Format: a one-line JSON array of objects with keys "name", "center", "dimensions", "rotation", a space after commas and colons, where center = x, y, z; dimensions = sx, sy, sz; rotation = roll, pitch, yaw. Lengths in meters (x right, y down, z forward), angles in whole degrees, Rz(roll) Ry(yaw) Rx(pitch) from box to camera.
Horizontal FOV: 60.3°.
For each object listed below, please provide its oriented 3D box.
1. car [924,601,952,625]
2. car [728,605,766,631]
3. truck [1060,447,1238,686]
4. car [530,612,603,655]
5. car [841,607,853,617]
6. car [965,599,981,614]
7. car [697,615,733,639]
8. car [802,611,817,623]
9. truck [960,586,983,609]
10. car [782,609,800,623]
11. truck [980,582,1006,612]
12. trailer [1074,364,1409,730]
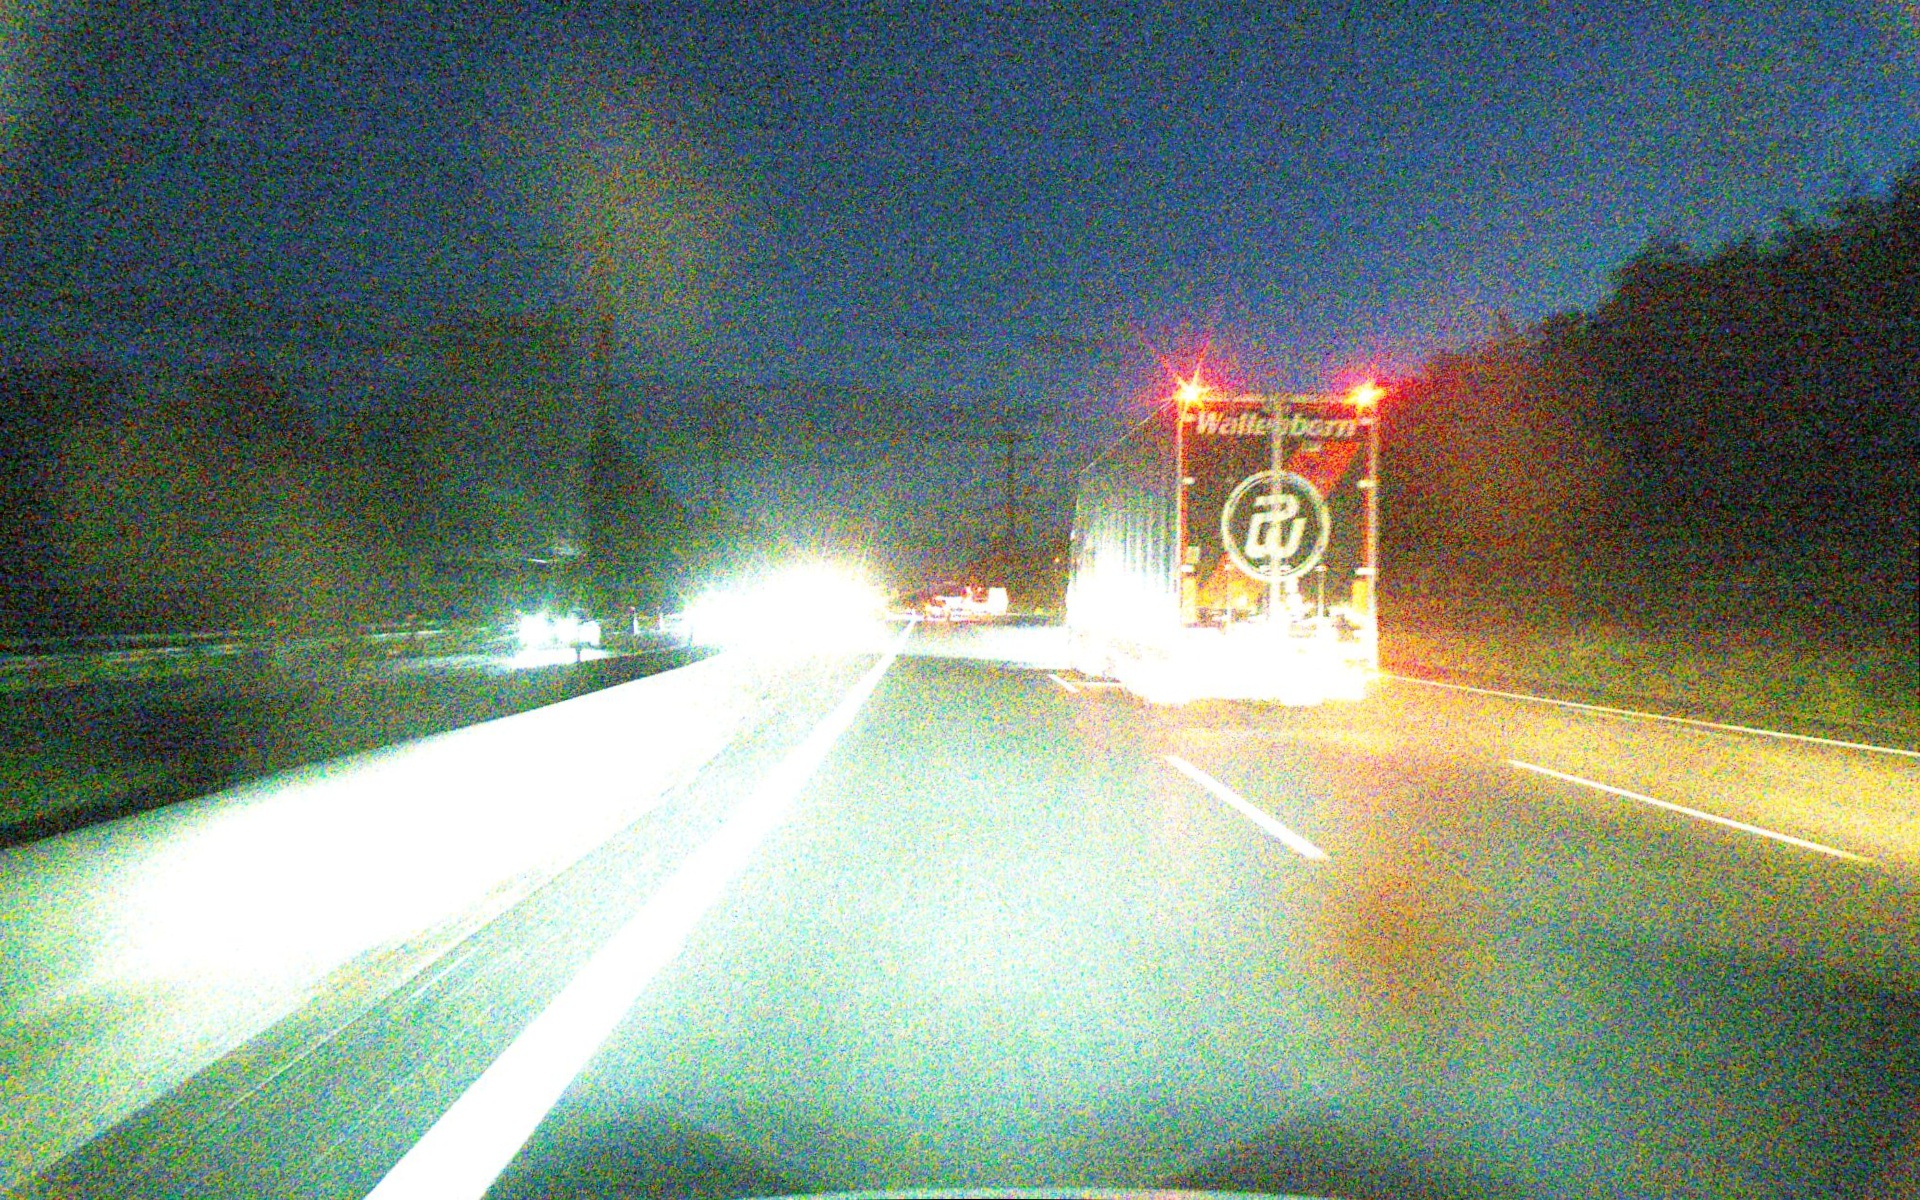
[{"name": "car", "center": [-1.477, 0.864, 110.621], "dimensions": [1.784, 1.492, 4.246], "rotation": [1, 0, -2]}, {"name": "car", "center": [-12.769, 1.066, 99.350], "dimensions": [1.715, 1.504, 4.762], "rotation": [-2, 0, -1]}, {"name": "truck", "center": [3.635, -0.596, 33.406], "dimensions": [2.608, 4.280, 6.721], "rotation": [1, 0, -1]}, {"name": "car", "center": [-15.196, 1.263, 64.056], "dimensions": [1.715, 1.504, 4.941], "rotation": [-2, 0, -1]}, {"name": "car", "center": [-17.440, 1.816, 255.909], "dimensions": [1.715, 1.504, 4.579], "rotation": [2, 0, -3]}, {"name": "car", "center": [1.254, 0.617, 154.987], "dimensions": [1.319, 1.411, 3.500], "rotation": [1, 0, -2]}, {"name": "car", "center": [-16.415, 1.789, 111.081], "dimensions": [1.714, 1.504, 4.481], "rotation": [-2, 0, 0]}, {"name": "car", "center": [-19.282, 2.219, 211.875], "dimensions": [1.599, 1.419, 4.875], "rotation": [-2, 0, -2]}, {"name": "truck", "center": [1.719, -0.388, 249.060], "dimensions": [2.983, 3.383, 10.137], "rotation": [1, 0, -2]}, {"name": "car", "center": [-18.197, 1.703, 178.424], "dimensions": [1.629, 1.357, 4.806], "rotation": [-2, 0, -3]}, {"name": "truck", "center": [3.425, -0.243, 172.638], "dimensions": [2.035, 2.738, 7.300], "rotation": [1, -3, -4]}, {"name": "trailer", "center": [3.818, -0.614, 26.431], "dimensions": [2.687, 4.280, 13.506], "rotation": [1, 0, -1]}]
